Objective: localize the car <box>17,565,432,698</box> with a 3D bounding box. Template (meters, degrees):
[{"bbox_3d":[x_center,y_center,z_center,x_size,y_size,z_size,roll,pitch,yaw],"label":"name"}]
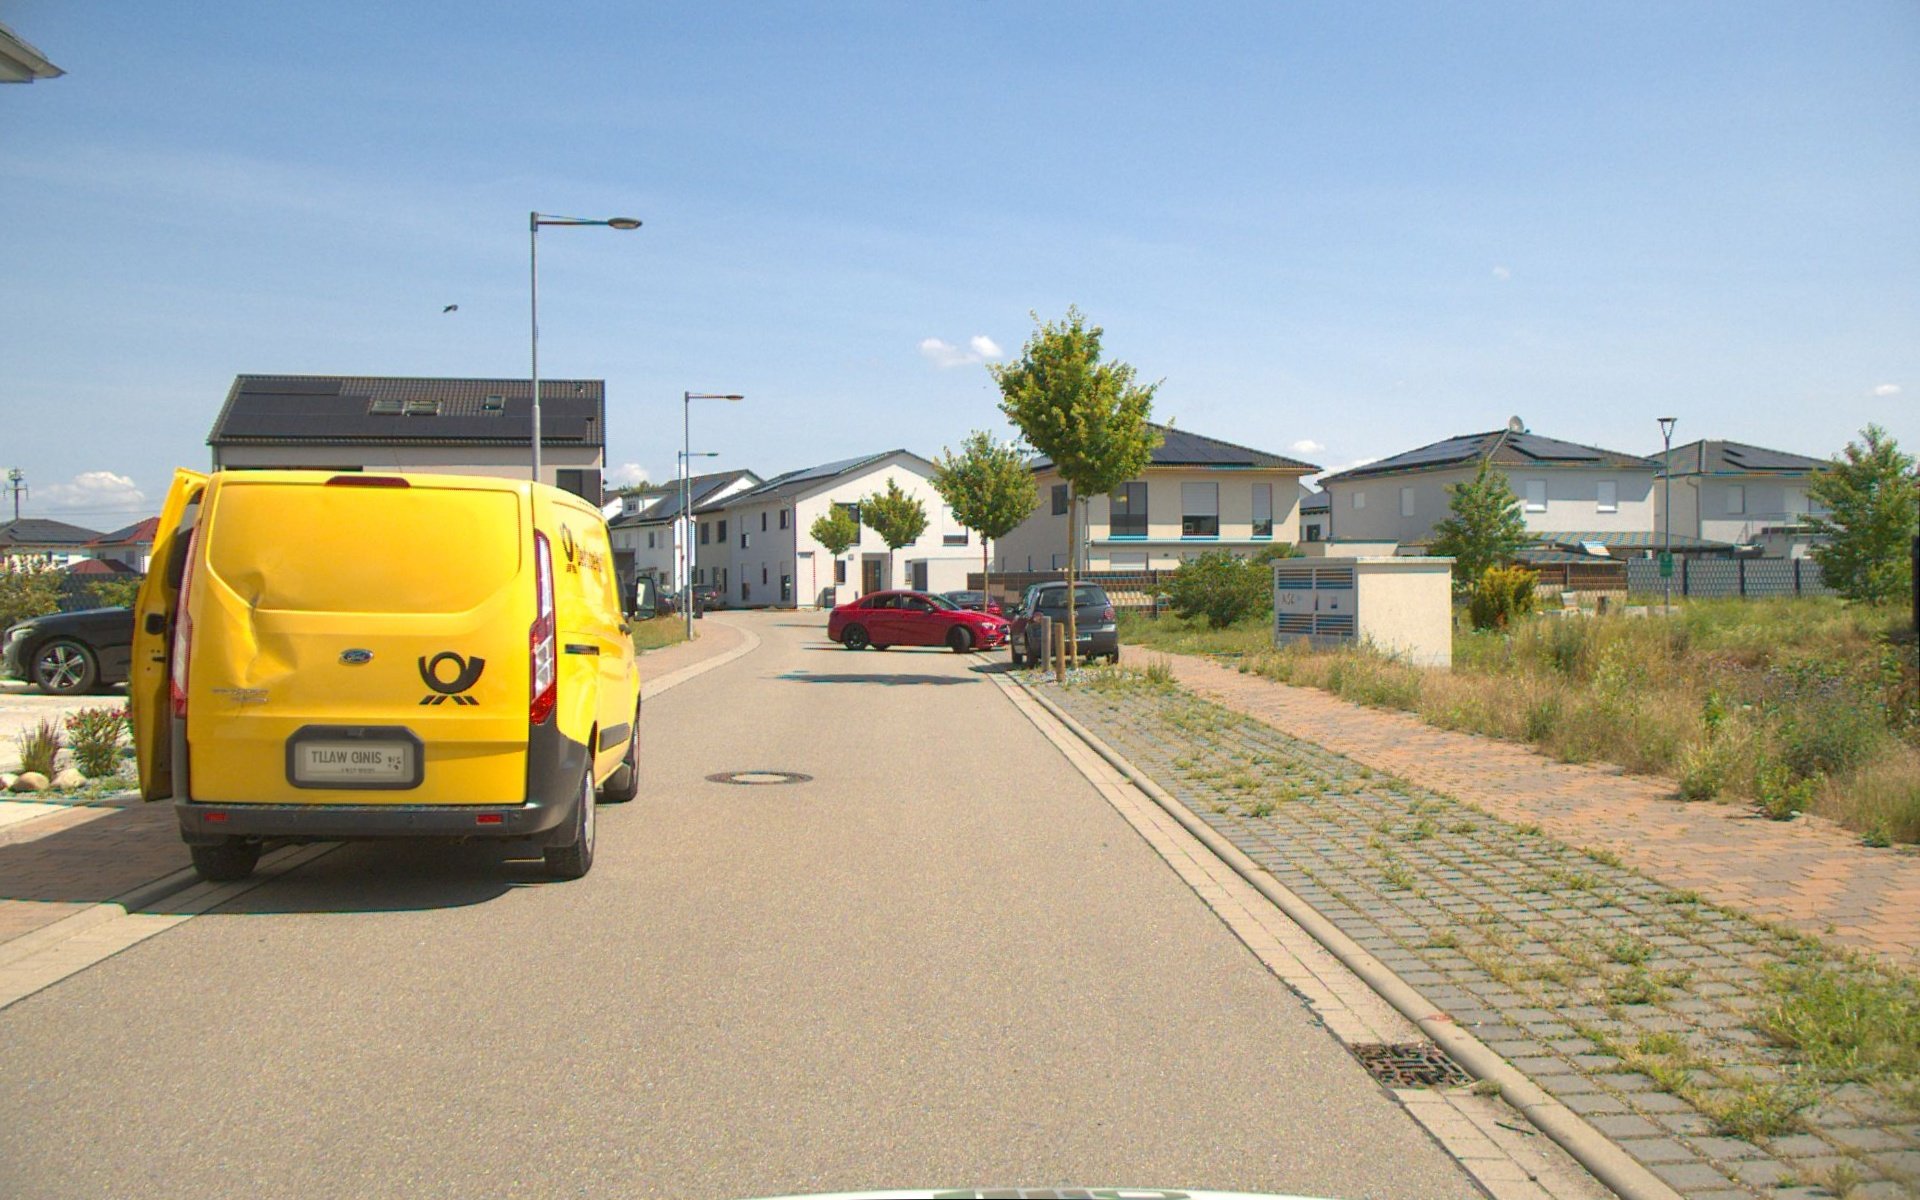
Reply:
[{"bbox_3d":[-8.669,0.364,19.912,4.321,1.477,1.741,1,0,-16],"label":"car"}]

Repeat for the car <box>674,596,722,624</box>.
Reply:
[{"bbox_3d":[-14.263,0.537,89.950,1.703,1.447,3.973,-1,1,-22],"label":"car"}]

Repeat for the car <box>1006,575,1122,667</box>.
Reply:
[{"bbox_3d":[1.811,0.337,29.824,1.567,1.500,3.672,-2,1,-4],"label":"car"}]

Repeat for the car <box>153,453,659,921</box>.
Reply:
[{"bbox_3d":[-2.885,0.359,9.760,1.848,2.049,4.834,0,0,-7],"label":"car"}]

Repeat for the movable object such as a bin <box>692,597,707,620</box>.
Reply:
[{"bbox_3d":[-11.080,0.374,70.356,0.524,0.952,0.526,1,0,-2],"label":"movable object such as a bin"}]

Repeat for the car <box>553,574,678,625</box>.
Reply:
[{"bbox_3d":[-12.415,-0.007,59.797,4.298,1.660,1.766,2,0,-11],"label":"car"}]

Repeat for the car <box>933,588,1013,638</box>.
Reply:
[{"bbox_3d":[0.337,0.347,48.708,1.721,1.387,4.567,1,0,-8],"label":"car"}]

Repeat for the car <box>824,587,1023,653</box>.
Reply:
[{"bbox_3d":[-0.866,0.450,39.478,4.412,1.463,1.768,1,0,22],"label":"car"}]
